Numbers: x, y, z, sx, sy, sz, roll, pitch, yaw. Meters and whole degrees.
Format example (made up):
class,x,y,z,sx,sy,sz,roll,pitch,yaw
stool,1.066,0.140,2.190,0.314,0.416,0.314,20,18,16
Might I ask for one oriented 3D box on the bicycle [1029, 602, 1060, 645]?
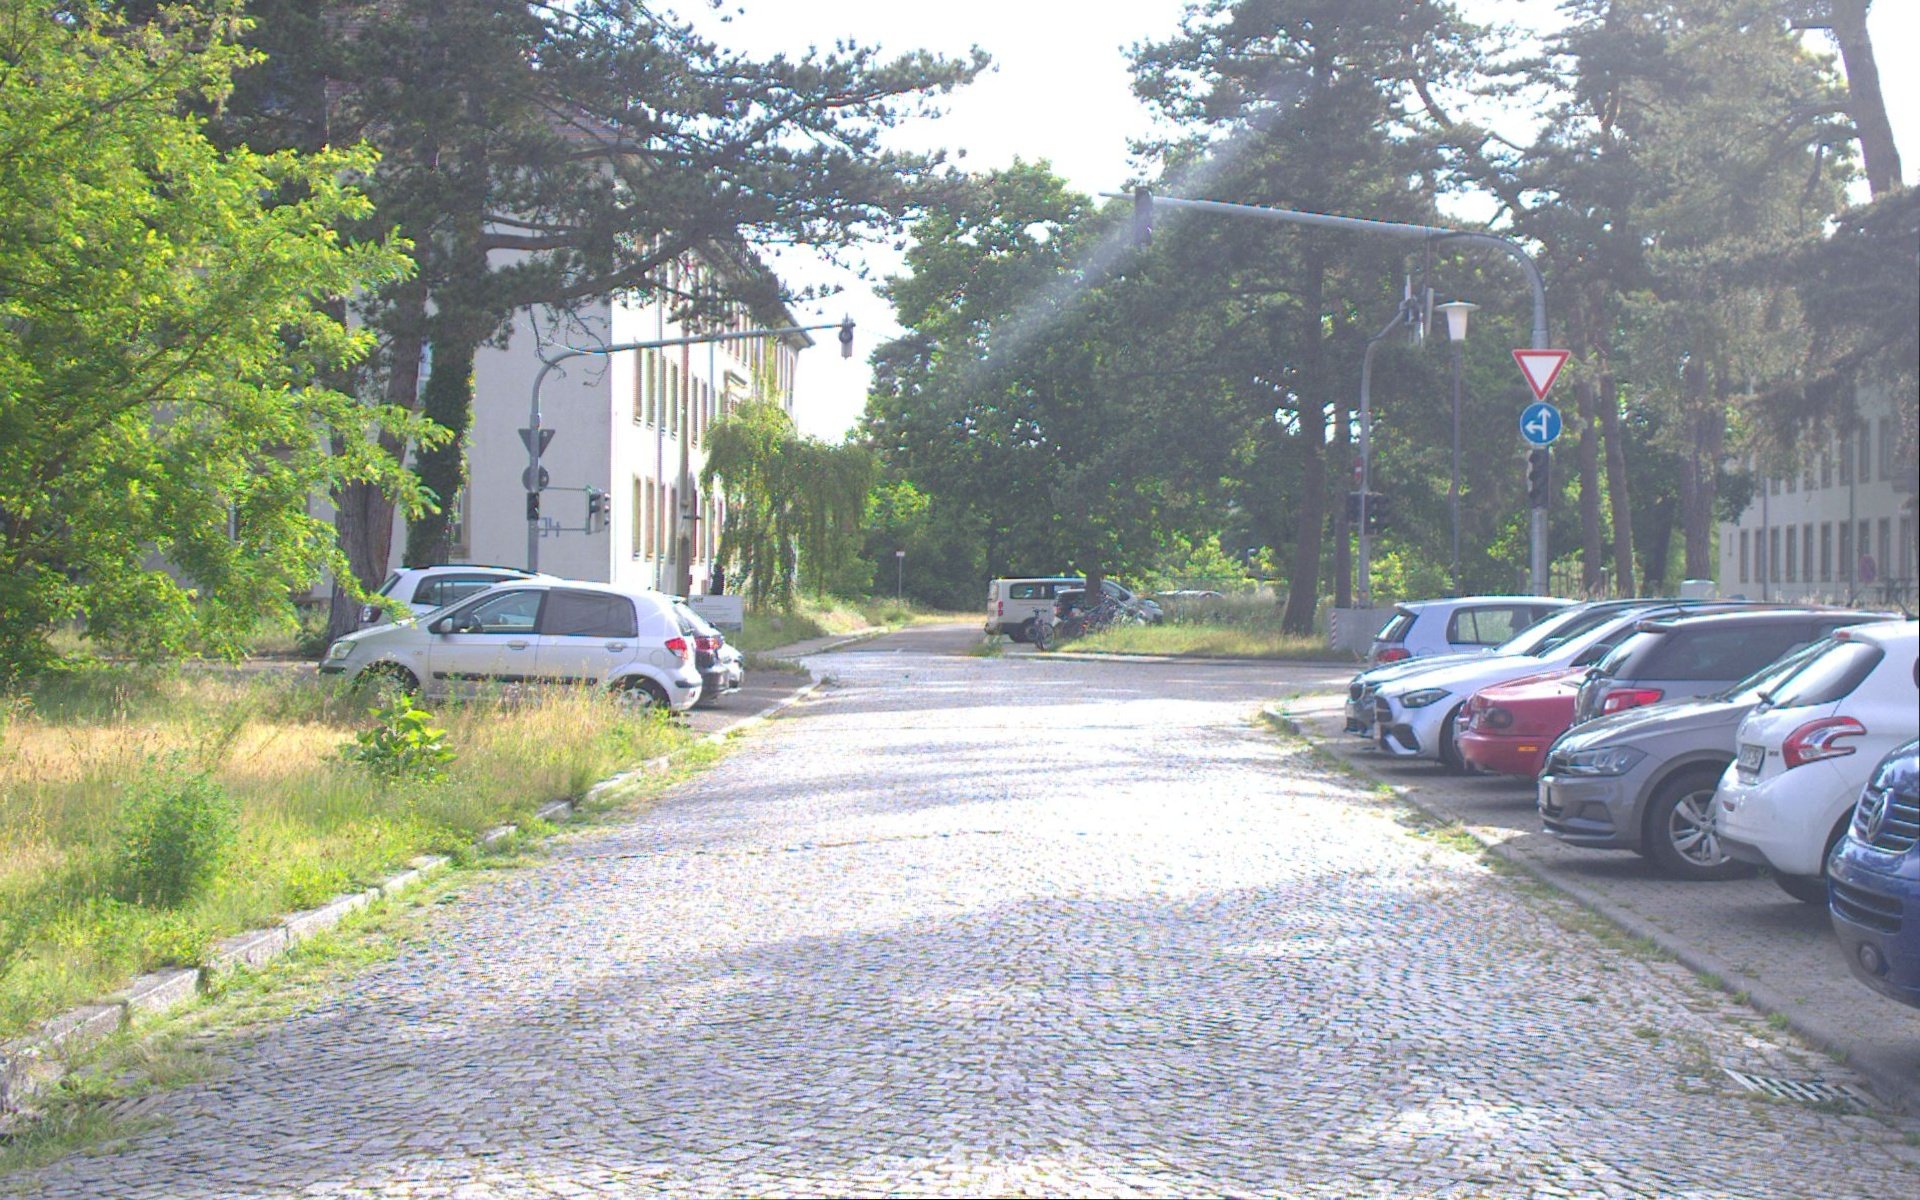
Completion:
class,x,y,z,sx,sy,sz,roll,pitch,yaw
bicycle,2.041,0.557,82.911,0.728,0.995,1.799,0,1,1

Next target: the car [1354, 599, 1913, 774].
class,x,y,z,sx,sy,sz,roll,pitch,yaw
car,5.781,0.735,29.906,4.506,1.468,1.849,0,0,1

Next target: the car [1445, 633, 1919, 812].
class,x,y,z,sx,sy,sz,roll,pitch,yaw
car,5.648,0.878,25.260,3.951,1.256,1.726,0,0,2

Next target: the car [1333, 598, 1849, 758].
class,x,y,z,sx,sy,sz,roll,pitch,yaw
car,5.937,0.727,32.682,4.506,1.468,1.895,0,0,-3

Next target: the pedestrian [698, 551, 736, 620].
class,x,y,z,sx,sy,sz,roll,pitch,yaw
pedestrian,-7.008,-0.413,99.081,0.985,1.957,0.932,1,0,1

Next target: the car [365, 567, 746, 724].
class,x,y,z,sx,sy,sz,roll,pitch,yaw
car,-4.338,0.485,37.330,3.828,1.424,1.859,4,0,0

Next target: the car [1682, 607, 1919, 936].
class,x,y,z,sx,sy,sz,roll,pitch,yaw
car,5.651,0.801,16.838,3.874,1.525,1.807,0,0,2

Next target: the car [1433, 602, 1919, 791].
class,x,y,z,sx,sy,sz,roll,pitch,yaw
car,6.081,0.757,27.628,4.341,1.468,1.740,0,0,1

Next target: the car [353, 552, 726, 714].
class,x,y,z,sx,sy,sz,roll,pitch,yaw
car,-4.841,0.381,40.037,4.121,1.594,1.859,4,0,-3

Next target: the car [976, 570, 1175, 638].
class,x,y,z,sx,sy,sz,roll,pitch,yaw
car,3.425,0.129,102.409,5.499,1.909,2.255,1,0,-12

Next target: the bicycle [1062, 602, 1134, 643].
class,x,y,z,sx,sy,sz,roll,pitch,yaw
bicycle,3.470,0.560,86.467,1.793,0.995,0.644,0,1,0

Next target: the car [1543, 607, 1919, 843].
class,x,y,z,sx,sy,sz,roll,pitch,yaw
car,5.944,0.792,22.613,3.951,1.490,1.772,0,0,2

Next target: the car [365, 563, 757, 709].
class,x,y,z,sx,sy,sz,roll,pitch,yaw
car,-4.890,0.424,42.581,4.587,1.450,1.903,4,1,-1

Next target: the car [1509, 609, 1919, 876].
class,x,y,z,sx,sy,sz,roll,pitch,yaw
car,5.255,0.785,19.706,3.951,1.462,1.830,0,0,2

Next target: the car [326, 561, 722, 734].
class,x,y,z,sx,sy,sz,roll,pitch,yaw
car,-4.344,0.473,34.674,3.683,1.468,1.849,4,0,0

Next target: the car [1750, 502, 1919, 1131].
class,x,y,z,sx,sy,sz,roll,pitch,yaw
car,5.255,0.621,11.494,4.733,1.922,1.992,-1,0,1

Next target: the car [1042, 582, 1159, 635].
class,x,y,z,sx,sy,sz,roll,pitch,yaw
car,4.035,0.248,98.826,3.031,1.460,1.720,1,-1,-11

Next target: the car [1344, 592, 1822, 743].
class,x,y,z,sx,sy,sz,roll,pitch,yaw
car,6.333,0.680,35.298,4.543,1.500,1.933,0,0,0
